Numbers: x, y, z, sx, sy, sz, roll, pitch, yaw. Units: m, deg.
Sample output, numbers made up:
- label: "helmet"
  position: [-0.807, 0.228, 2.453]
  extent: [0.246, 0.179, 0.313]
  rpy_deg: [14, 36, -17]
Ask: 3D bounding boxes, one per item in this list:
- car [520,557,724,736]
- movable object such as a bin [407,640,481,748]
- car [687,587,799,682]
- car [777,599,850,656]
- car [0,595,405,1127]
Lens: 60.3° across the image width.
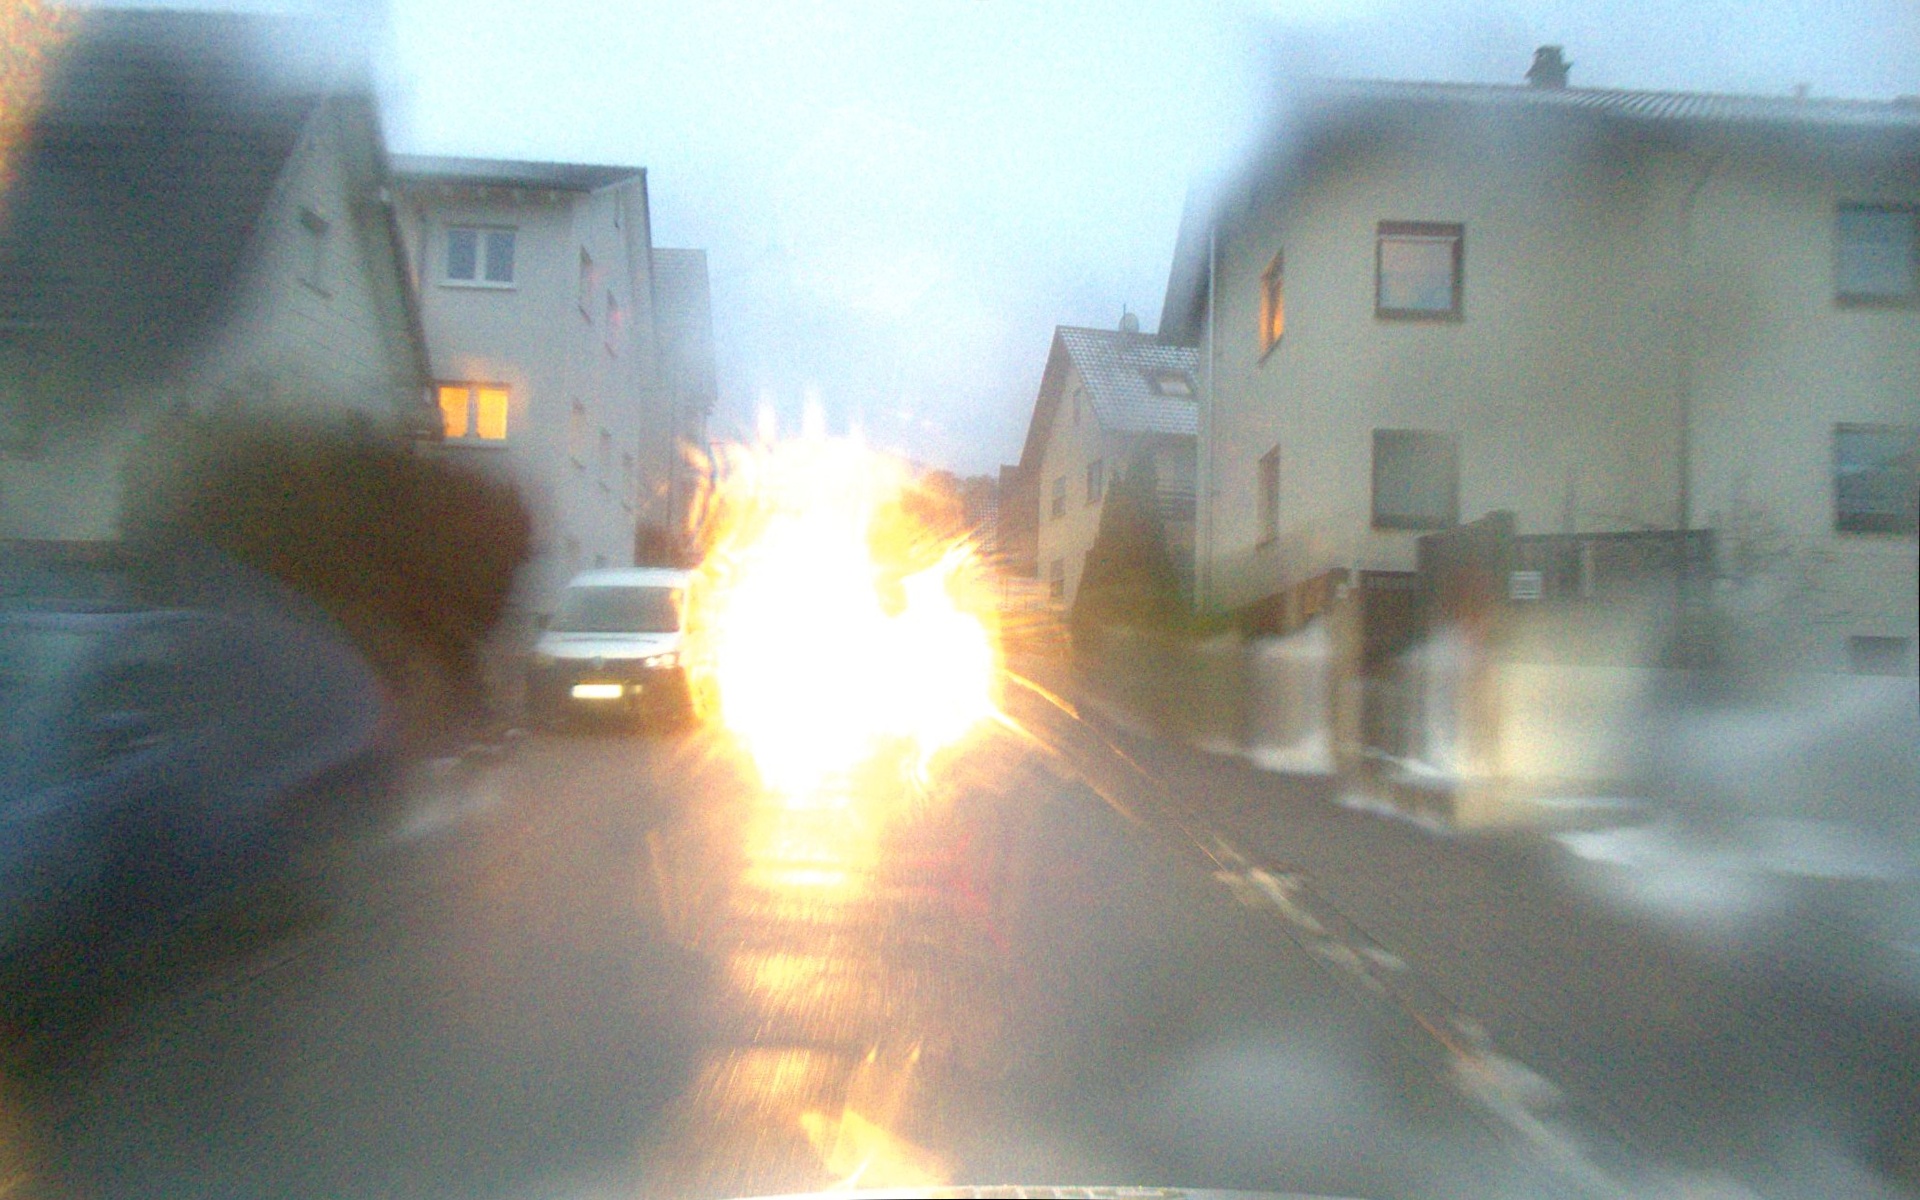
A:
- label: "car"
  position: [-3.852, 0.499, 19.507]
  extent: [1.790, 1.867, 4.341]
  rpy_deg: [0, 0, -4]
- label: "movable object such as a bin"
  position: [-4.875, 0.881, 15.644]
  extent: [0.473, 0.933, 0.600]
  rpy_deg: [4, 1, -4]
- label: "car"
  position: [-4.372, 0.669, 33.801]
  extent: [1.954, 1.832, 3.997]
  rpy_deg: [0, 0, -3]
- label: "car"
  position: [-4.569, 0.909, 52.132]
  extent: [1.953, 1.679, 3.999]
  rpy_deg: [2, -2, -1]
- label: "car"
  position: [-3.663, 0.755, 6.208]
  extent: [1.758, 1.530, 4.308]
  rpy_deg: [0, 0, -1]
